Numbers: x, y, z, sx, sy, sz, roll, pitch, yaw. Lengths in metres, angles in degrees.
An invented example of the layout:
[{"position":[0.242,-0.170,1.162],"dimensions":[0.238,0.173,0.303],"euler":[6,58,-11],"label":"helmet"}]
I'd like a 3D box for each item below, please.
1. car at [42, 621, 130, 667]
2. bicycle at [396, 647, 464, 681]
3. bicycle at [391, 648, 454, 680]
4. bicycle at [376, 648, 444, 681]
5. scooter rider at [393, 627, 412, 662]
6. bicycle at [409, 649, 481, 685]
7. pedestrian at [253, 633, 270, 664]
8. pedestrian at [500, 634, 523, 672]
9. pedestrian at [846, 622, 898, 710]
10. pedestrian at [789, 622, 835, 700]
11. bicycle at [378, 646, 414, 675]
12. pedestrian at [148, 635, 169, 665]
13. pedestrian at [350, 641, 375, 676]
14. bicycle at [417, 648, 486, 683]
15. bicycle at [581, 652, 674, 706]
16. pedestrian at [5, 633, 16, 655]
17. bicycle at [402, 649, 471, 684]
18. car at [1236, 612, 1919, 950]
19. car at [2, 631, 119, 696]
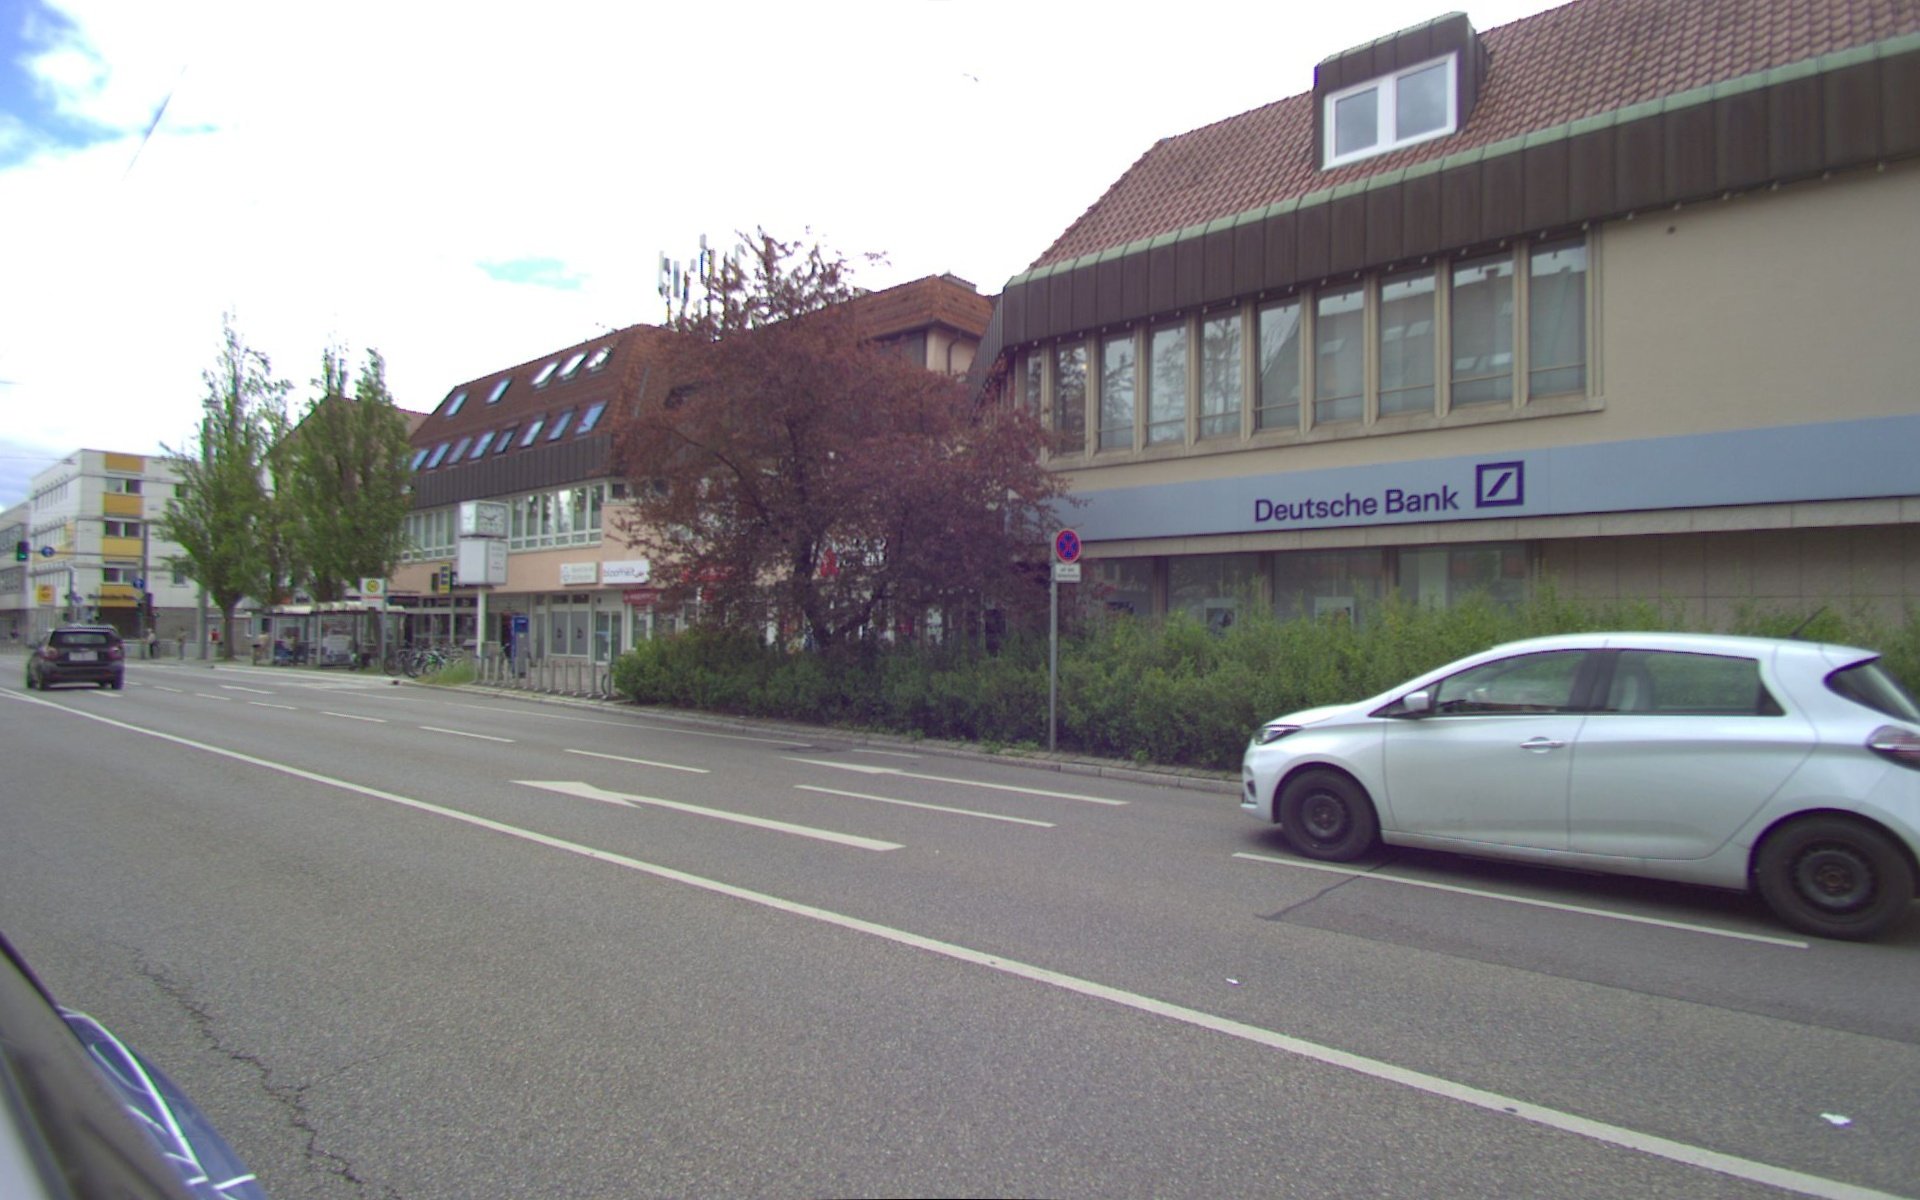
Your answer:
[{"position":[-36.100,1.820,41.760],"dimensions":[4.691,1.752,2.047],"euler":[-2,-5,41],"label":"car"},{"position":[-18.120,2.165,34.643],"dimensions":[0.646,1.098,2.003],"euler":[-1,-3,30],"label":"bicycle"},{"position":[-19.269,2.277,36.352],"dimensions":[0.645,1.098,2.006],"euler":[-1,-2,26],"label":"bicycle"},{"position":[-19.072,2.216,35.145],"dimensions":[0.647,1.098,2.000],"euler":[-2,-3,35],"label":"bicycle"},{"position":[-28.236,2.261,51.269],"dimensions":[0.587,1.725,0.607],"euler":[-2,0,37],"label":"scooter rider"},{"position":[-16.417,2.128,32.331],"dimensions":[0.646,1.098,2.003],"euler":[-1,-3,30],"label":"bicycle"},{"position":[-38.482,2.661,55.775],"dimensions":[0.614,1.647,0.580],"euler":[-2,0,38],"label":"pedestrian"},{"position":[-18.499,2.191,41.737],"dimensions":[0.587,1.559,0.704],"euler":[-3,-3,39],"label":"pedestrian"},{"position":[-1.849,1.372,21.305],"dimensions":[0.754,1.777,0.719],"euler":[-2,0,38],"label":"pedestrian"},{"position":[-3.557,1.448,24.328],"dimensions":[0.756,1.777,0.717],"euler":[-2,1,44],"label":"pedestrian"},{"position":[-22.491,2.398,40.346],"dimensions":[1.928,1.098,0.528],"euler":[-2,-2,39],"label":"bicycle"},{"position":[-44.727,2.775,56.480],"dimensions":[0.612,1.647,0.695],"euler":[-2,0,29],"label":"pedestrian"},{"position":[-23.902,2.347,40.486],"dimensions":[0.588,1.374,0.704],"euler":[-3,-3,42],"label":"pedestrian"},{"position":[-16.735,2.142,33.336],"dimensions":[0.646,1.098,2.003],"euler":[-1,-3,30],"label":"bicycle"},{"position":[-7.287,1.716,22.290],"dimensions":[0.646,1.098,2.003],"euler":[-1,-3,30],"label":"bicycle"},{"position":[-79.834,3.690,85.078],"dimensions":[0.526,1.817,0.580],"euler":[-2,0,40],"label":"pedestrian"},{"position":[-17.377,2.189,33.649],"dimensions":[0.646,1.098,2.003],"euler":[-1,-3,30],"label":"bicycle"},{"position":[3.921,0.934,6.348],"dimensions":[3.923,1.580,1.623],"euler":[-2,-5,40],"label":"car"},{"position":[-22.823,1.587,25.660],"dimensions":[2.954,1.552,1.556],"euler":[-2,-4,36],"label":"car"}]
